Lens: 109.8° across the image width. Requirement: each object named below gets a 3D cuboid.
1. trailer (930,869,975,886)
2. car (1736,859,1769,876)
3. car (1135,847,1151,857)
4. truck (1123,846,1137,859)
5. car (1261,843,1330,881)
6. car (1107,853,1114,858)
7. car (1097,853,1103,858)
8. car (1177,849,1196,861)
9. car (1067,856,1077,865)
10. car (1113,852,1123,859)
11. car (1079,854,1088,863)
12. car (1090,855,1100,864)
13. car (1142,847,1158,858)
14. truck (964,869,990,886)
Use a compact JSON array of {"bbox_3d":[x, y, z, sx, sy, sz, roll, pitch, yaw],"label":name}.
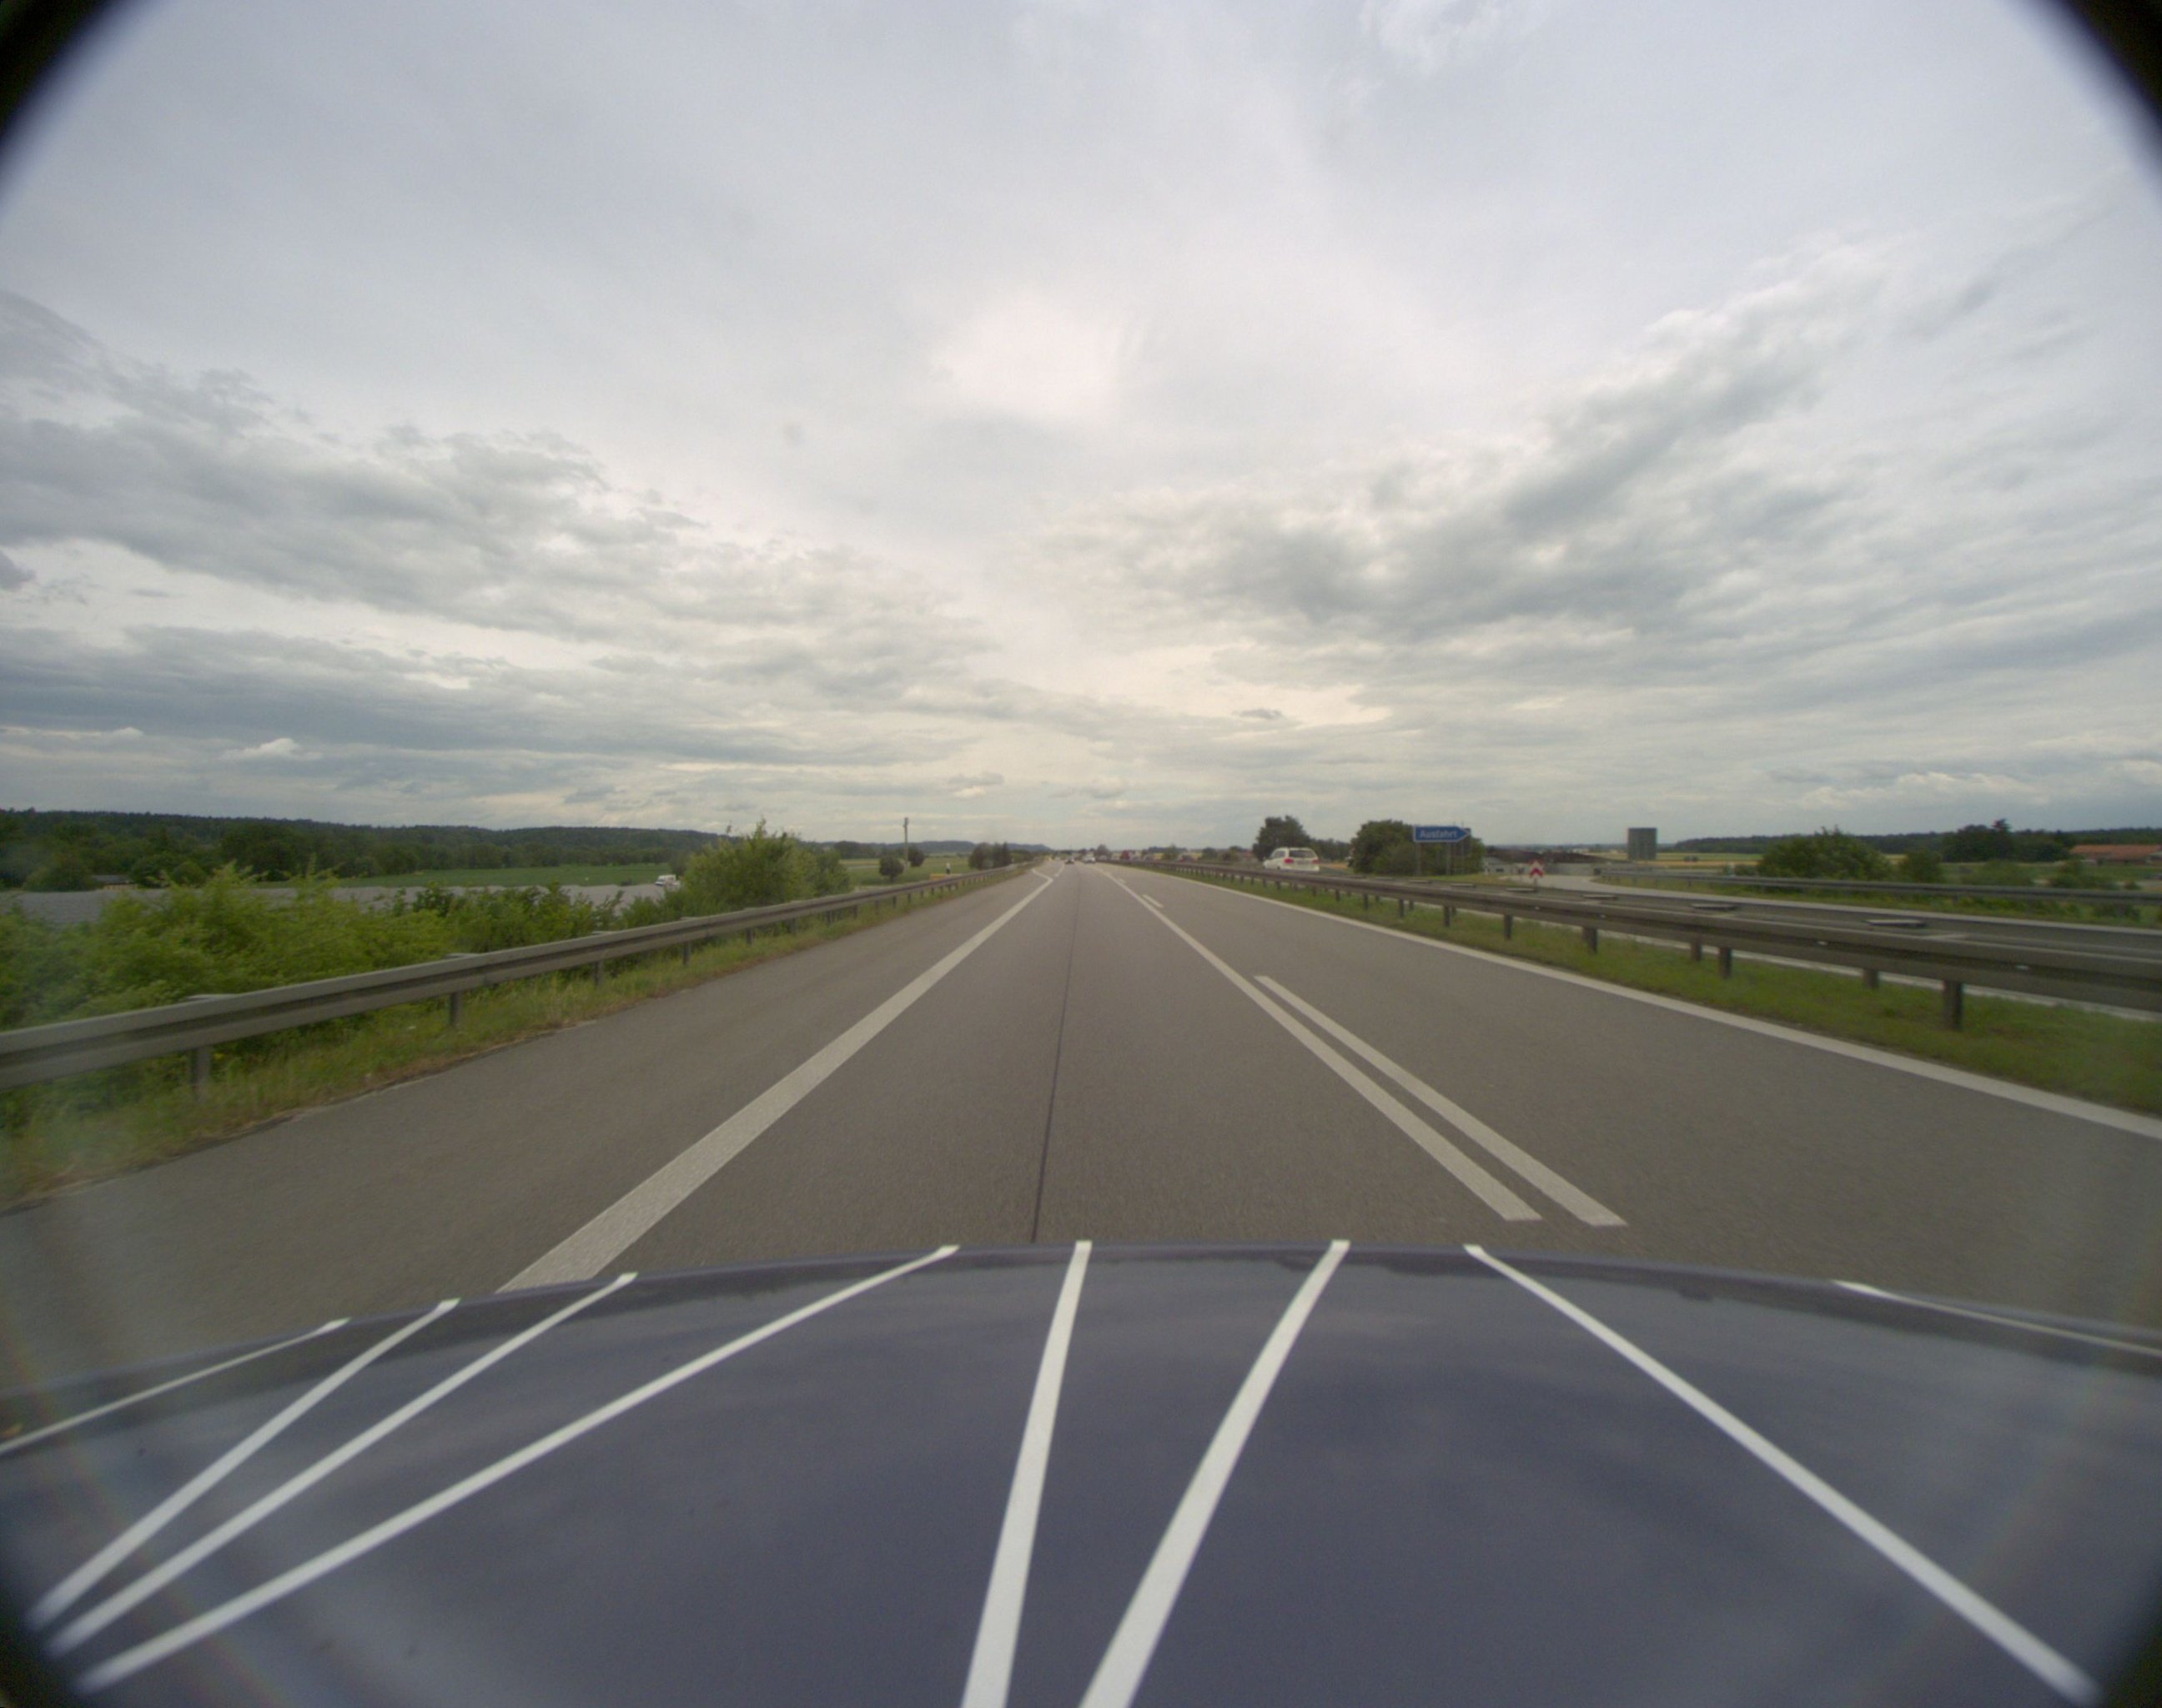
[{"bbox_3d":[-37.114,6.783,219.812,12.305,4.759,3.018,-1,0,-5],"label":"trailer"},{"bbox_3d":[84.226,1.653,95.256,4.006,2.002,1.995,-2,0,-31],"label":"car"},{"bbox_3d":[10.576,-0.396,129.436,2.141,1.579,4.998,-4,0,-1],"label":"car"},{"bbox_3d":[14.283,-0.408,222.690,2.676,3.516,11.075,1,0,-2],"label":"truck"},{"bbox_3d":[10.700,0.387,38.278,2.075,1.735,4.961,1,-1,0],"label":"car"},{"bbox_3d":[9.561,0.489,247.713,1.830,1.338,4.783,0,0,-1],"label":"car"},{"bbox_3d":[5.982,0.427,242.356,1.896,1.578,4.762,0,0,-1],"label":"car"},{"bbox_3d":[13.619,0.168,98.062,1.804,1.385,4.000,-2,-1,0],"label":"car"},{"bbox_3d":[-1.849,1.278,149.362,1.851,1.850,3.999,1,0,-2],"label":"car"},{"bbox_3d":[8.485,0.436,175.093,1.896,1.578,4.762,0,0,-1],"label":"car"},{"bbox_3d":[0.493,0.930,176.583,1.998,2.002,4.000,-2,0,0],"label":"car"},{"bbox_3d":[2.517,0.992,136.402,1.850,1.665,4.200,1,0,1],"label":"car"},{"bbox_3d":[9.527,-0.215,104.581,1.804,1.385,4.000,0,0,0],"label":"car"},{"bbox_3d":[-30.099,6.687,220.340,7.138,4.759,3.018,-1,0,-5],"label":"truck"}]
